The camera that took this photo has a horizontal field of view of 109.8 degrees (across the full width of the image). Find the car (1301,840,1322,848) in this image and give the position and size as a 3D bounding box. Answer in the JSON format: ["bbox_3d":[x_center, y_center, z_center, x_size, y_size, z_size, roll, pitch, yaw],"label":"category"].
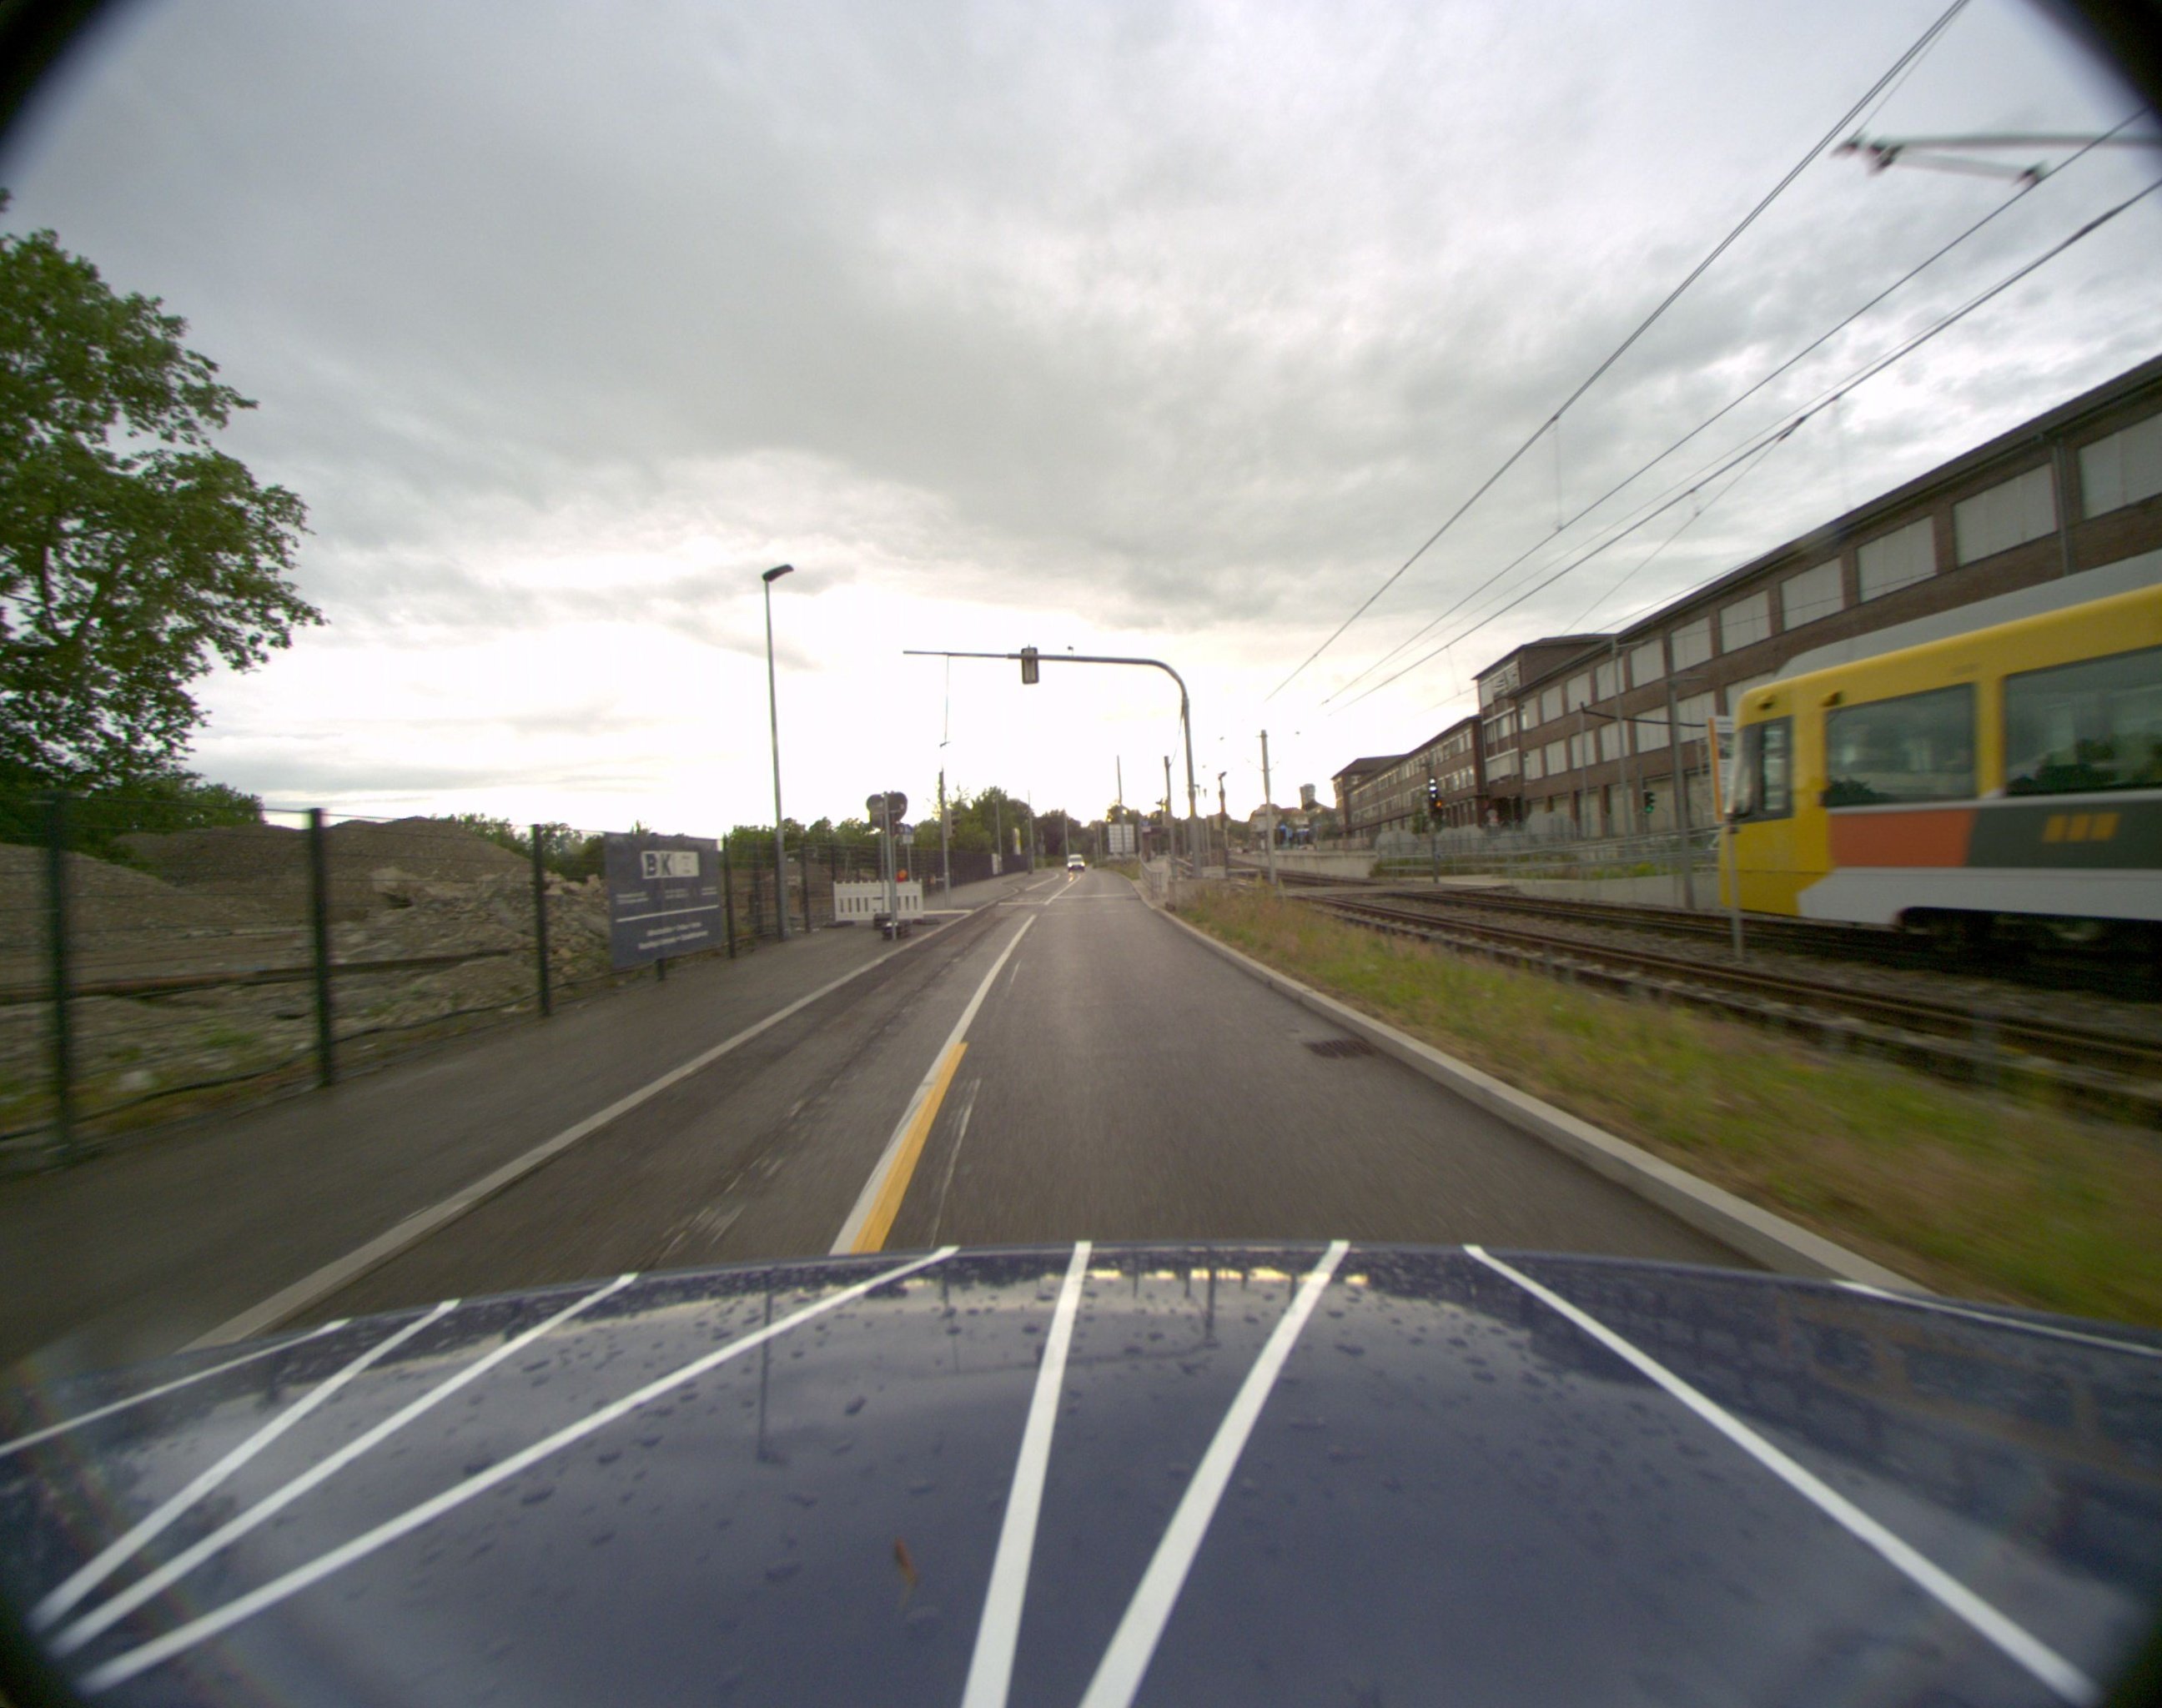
[{"bbox_3d":[56.382,-2.508,185.767,4.573,1.750,2.001,-4,0,10],"label":"car"}]

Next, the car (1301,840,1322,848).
[{"bbox_3d":[57.126,-2.543,188.162,4.573,1.750,2.001,-4,0,10],"label":"car"}]

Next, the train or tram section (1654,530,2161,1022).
[{"bbox_3d":[10.003,-0.678,1.304,2.963,3.863,19.570,-4,0,0],"label":"train or tram section"}]

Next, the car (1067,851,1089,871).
[{"bbox_3d":[-0.317,0.745,83.214,1.999,2.002,3.998,-3,1,-4],"label":"car"}]

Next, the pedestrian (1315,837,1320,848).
[{"bbox_3d":[46.170,-2.207,148.527,0.581,2.002,0.728,-3,1,-26],"label":"pedestrian"}]
